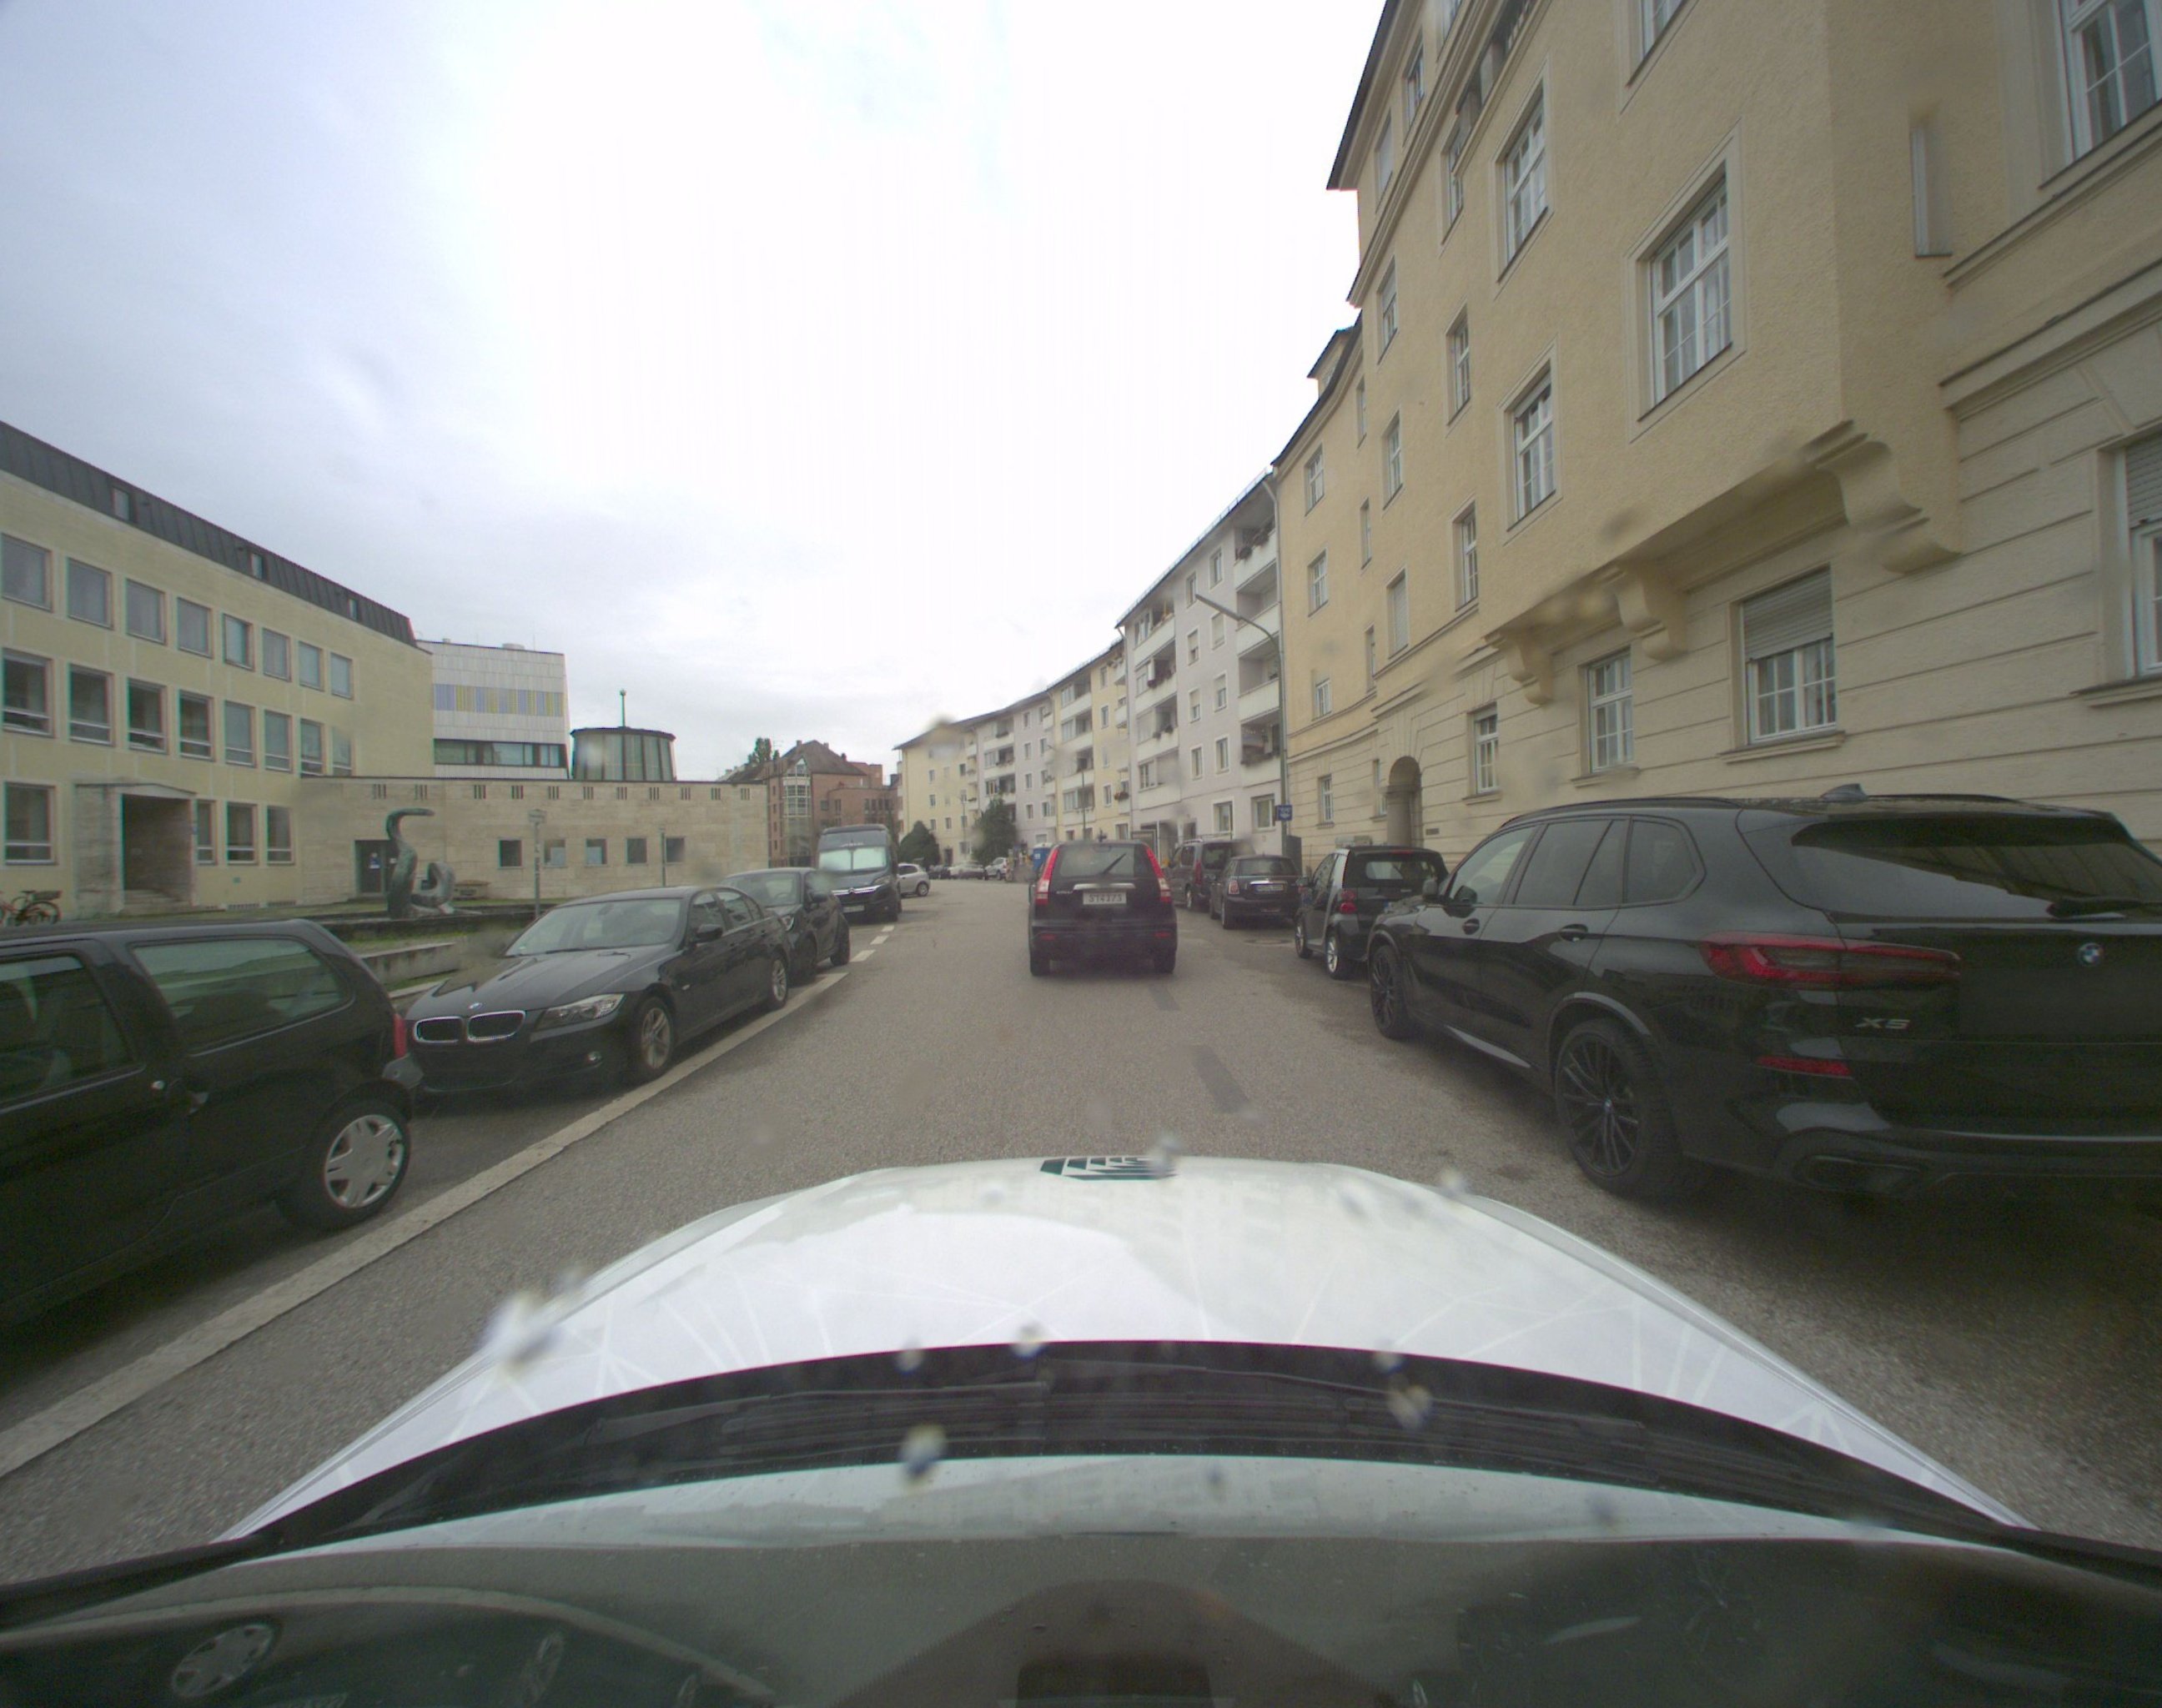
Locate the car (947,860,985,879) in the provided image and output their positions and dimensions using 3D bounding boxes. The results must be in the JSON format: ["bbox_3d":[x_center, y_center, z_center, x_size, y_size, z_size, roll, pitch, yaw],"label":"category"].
[{"bbox_3d":[-9.596,1.268,67.775,1.736,1.483,3.960,-1,0,-32],"label":"car"}]

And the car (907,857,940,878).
[{"bbox_3d":[-14.671,1.258,75.841,1.736,1.878,3.960,-1,0,-32],"label":"car"}]

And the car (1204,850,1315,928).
[{"bbox_3d":[3.616,0.662,17.118,1.701,1.447,3.833,0,0,3],"label":"car"}]

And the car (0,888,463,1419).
[{"bbox_3d":[-3.975,0.948,2.450,1.652,1.453,3.311,-3,0,-1],"label":"car"}]

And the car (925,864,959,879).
[{"bbox_3d":[-12.309,1.564,71.973,1.709,1.236,3.565,-1,0,-32],"label":"car"}]

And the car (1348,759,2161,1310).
[{"bbox_3d":[3.268,0.571,4.979,1.861,1.717,4.868,0,0,2],"label":"car"}]

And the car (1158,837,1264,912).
[{"bbox_3d":[3.381,0.500,22.027,1.775,1.807,4.266,0,0,-6],"label":"car"}]

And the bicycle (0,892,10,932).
[{"bbox_3d":[-28.544,1.500,20.496,1.949,1.014,0.623,-2,0,-13],"label":"bicycle"}]

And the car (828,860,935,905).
[{"bbox_3d":[-8.490,1.197,34.874,1.663,1.481,4.113,-7,-1,41],"label":"car"}]

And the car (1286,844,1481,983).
[{"bbox_3d":[3.718,0.658,10.525,1.528,1.524,3.113,0,0,3],"label":"car"}]

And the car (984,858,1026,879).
[{"bbox_3d":[-5.525,1.031,58.846,1.733,1.483,3.966,-1,0,-26],"label":"car"}]

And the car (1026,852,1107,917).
[{"bbox_3d":[-0.469,0.723,21.136,1.677,1.481,4.077,-2,0,-7],"label":"car"}]

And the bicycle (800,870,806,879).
[{"bbox_3d":[-41.868,3.038,122.573,0.554,1.288,1.744,-1,0,-28],"label":"bicycle"}]

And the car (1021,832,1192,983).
[{"bbox_3d":[0.253,0.612,11.168,1.885,1.647,3.989,-2,0,-1],"label":"car"}]

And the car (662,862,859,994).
[{"bbox_3d":[-4.339,0.917,11.487,1.667,1.502,2.973,-3,0,-4],"label":"car"}]

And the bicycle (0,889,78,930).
[{"bbox_3d":[-28.604,1.506,21.919,1.953,1.014,0.621,-2,0,-20],"label":"bicycle"}]

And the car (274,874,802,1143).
[{"bbox_3d":[-4.035,0.982,7.161,1.795,1.406,4.449,-3,0,-4],"label":"car"}]

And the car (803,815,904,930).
[{"bbox_3d":[-6.106,0.448,22.562,2.166,2.641,5.992,-3,0,-12],"label":"car"}]

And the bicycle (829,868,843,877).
[{"bbox_3d":[-33.887,2.556,112.738,1.764,1.288,0.548,-1,-1,-29],"label":"bicycle"}]
